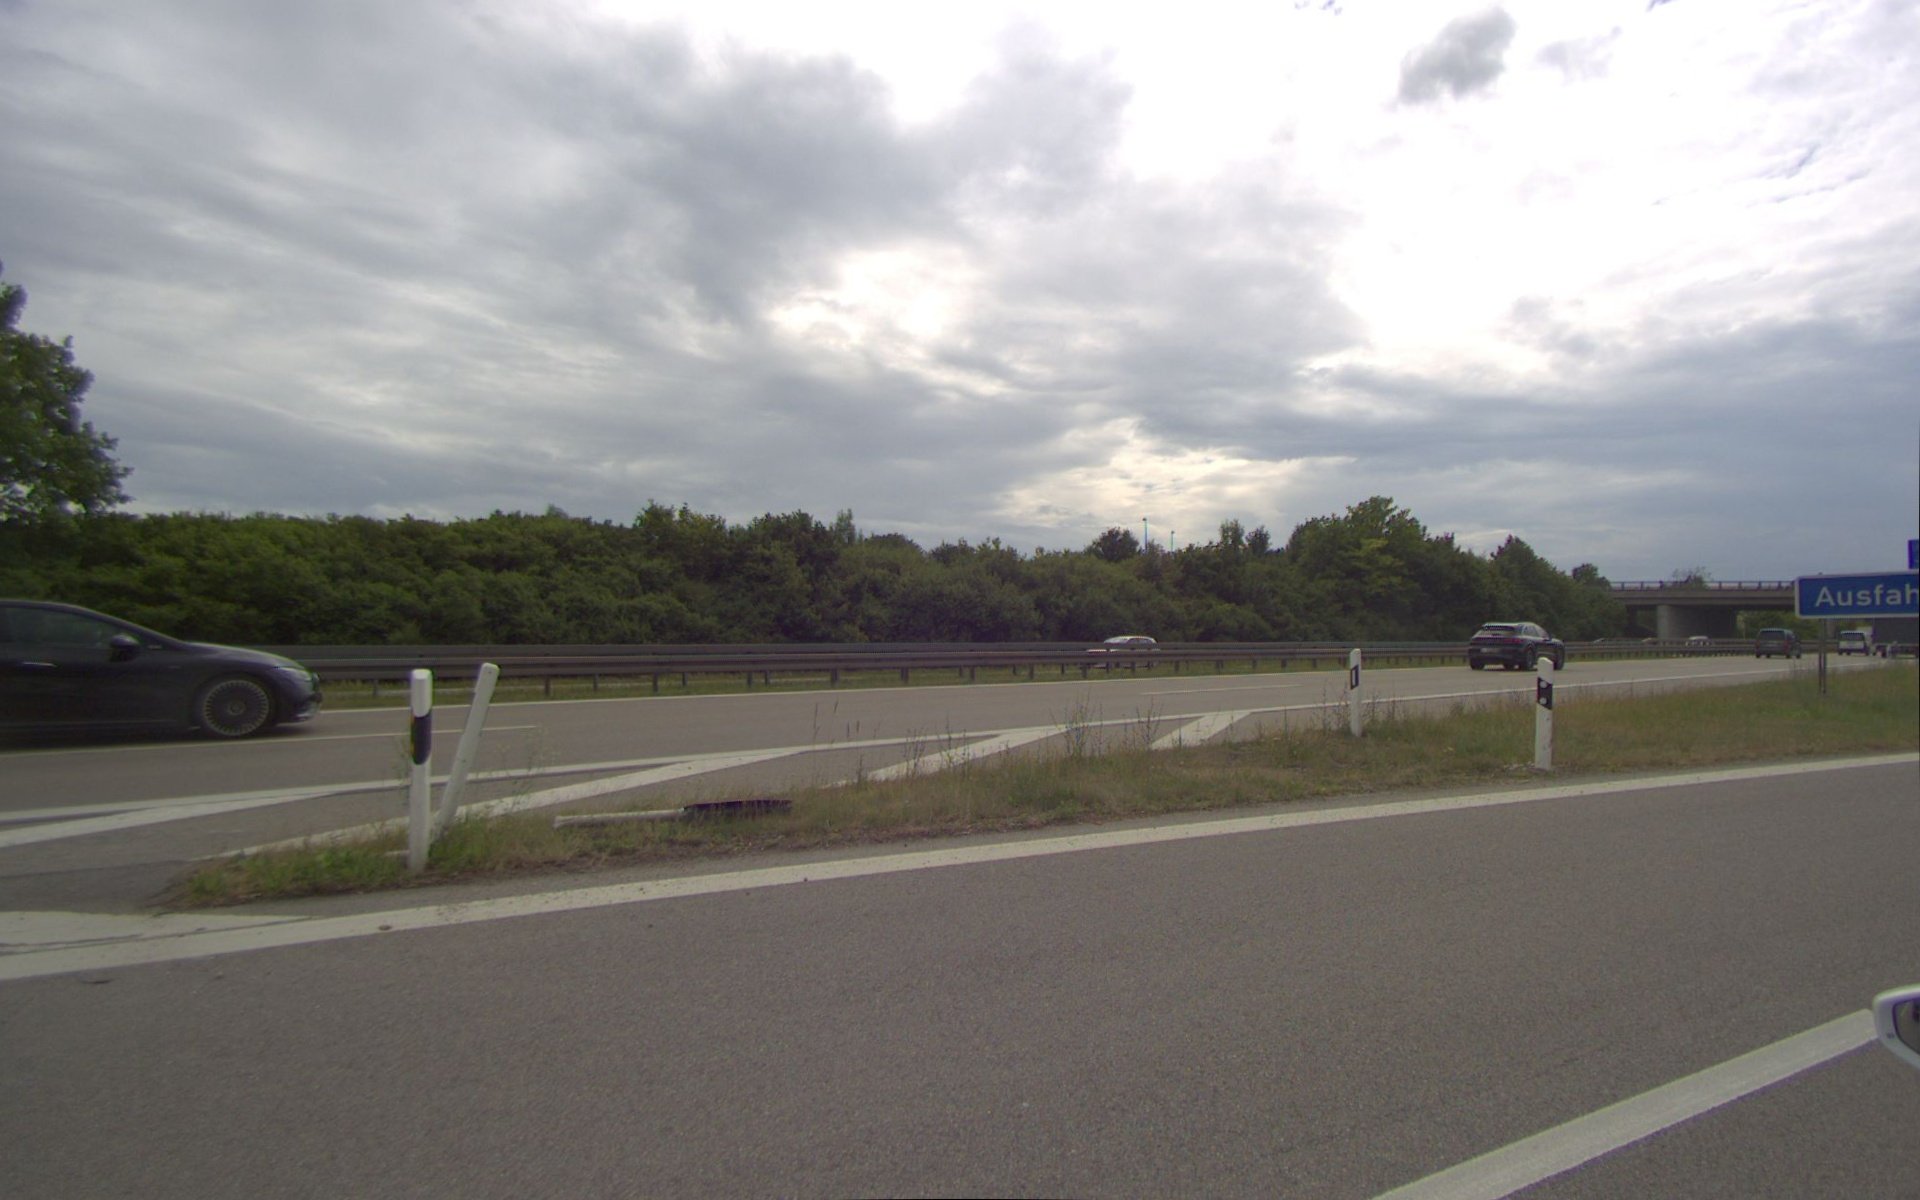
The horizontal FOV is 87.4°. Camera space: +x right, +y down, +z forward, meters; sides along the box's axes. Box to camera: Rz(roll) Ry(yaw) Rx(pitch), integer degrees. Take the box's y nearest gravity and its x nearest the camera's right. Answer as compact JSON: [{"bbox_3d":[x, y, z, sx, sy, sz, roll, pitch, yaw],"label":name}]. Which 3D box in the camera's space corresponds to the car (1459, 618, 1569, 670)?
[{"bbox_3d":[20.253,1.594,36.648,4.790,1.766,1.977,2,-3,-40],"label":"car"}]

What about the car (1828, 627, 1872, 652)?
[{"bbox_3d":[69.065,3.042,77.915,3.967,1.834,1.977,2,-2,-40],"label":"car"}]

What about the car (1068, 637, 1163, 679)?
[{"bbox_3d":[6.493,2.375,41.761,3.970,1.617,1.787,2,-2,-42],"label":"car"}]

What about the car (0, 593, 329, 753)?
[{"bbox_3d":[-9.558,0.725,10.550,4.740,1.529,1.977,2,-2,-40],"label":"car"}]

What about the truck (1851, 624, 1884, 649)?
[{"bbox_3d":[140.524,5.679,155.483,8.131,3.694,2.736,2,-2,-40],"label":"truck"}]

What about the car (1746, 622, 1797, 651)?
[{"bbox_3d":[51.695,2.308,63.952,4.302,1.782,1.829,2,-2,-41],"label":"car"}]

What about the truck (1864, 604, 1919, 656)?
[{"bbox_3d":[65.556,2.160,70.226,7.861,3.415,2.446,2,-3,-41],"label":"truck"}]
